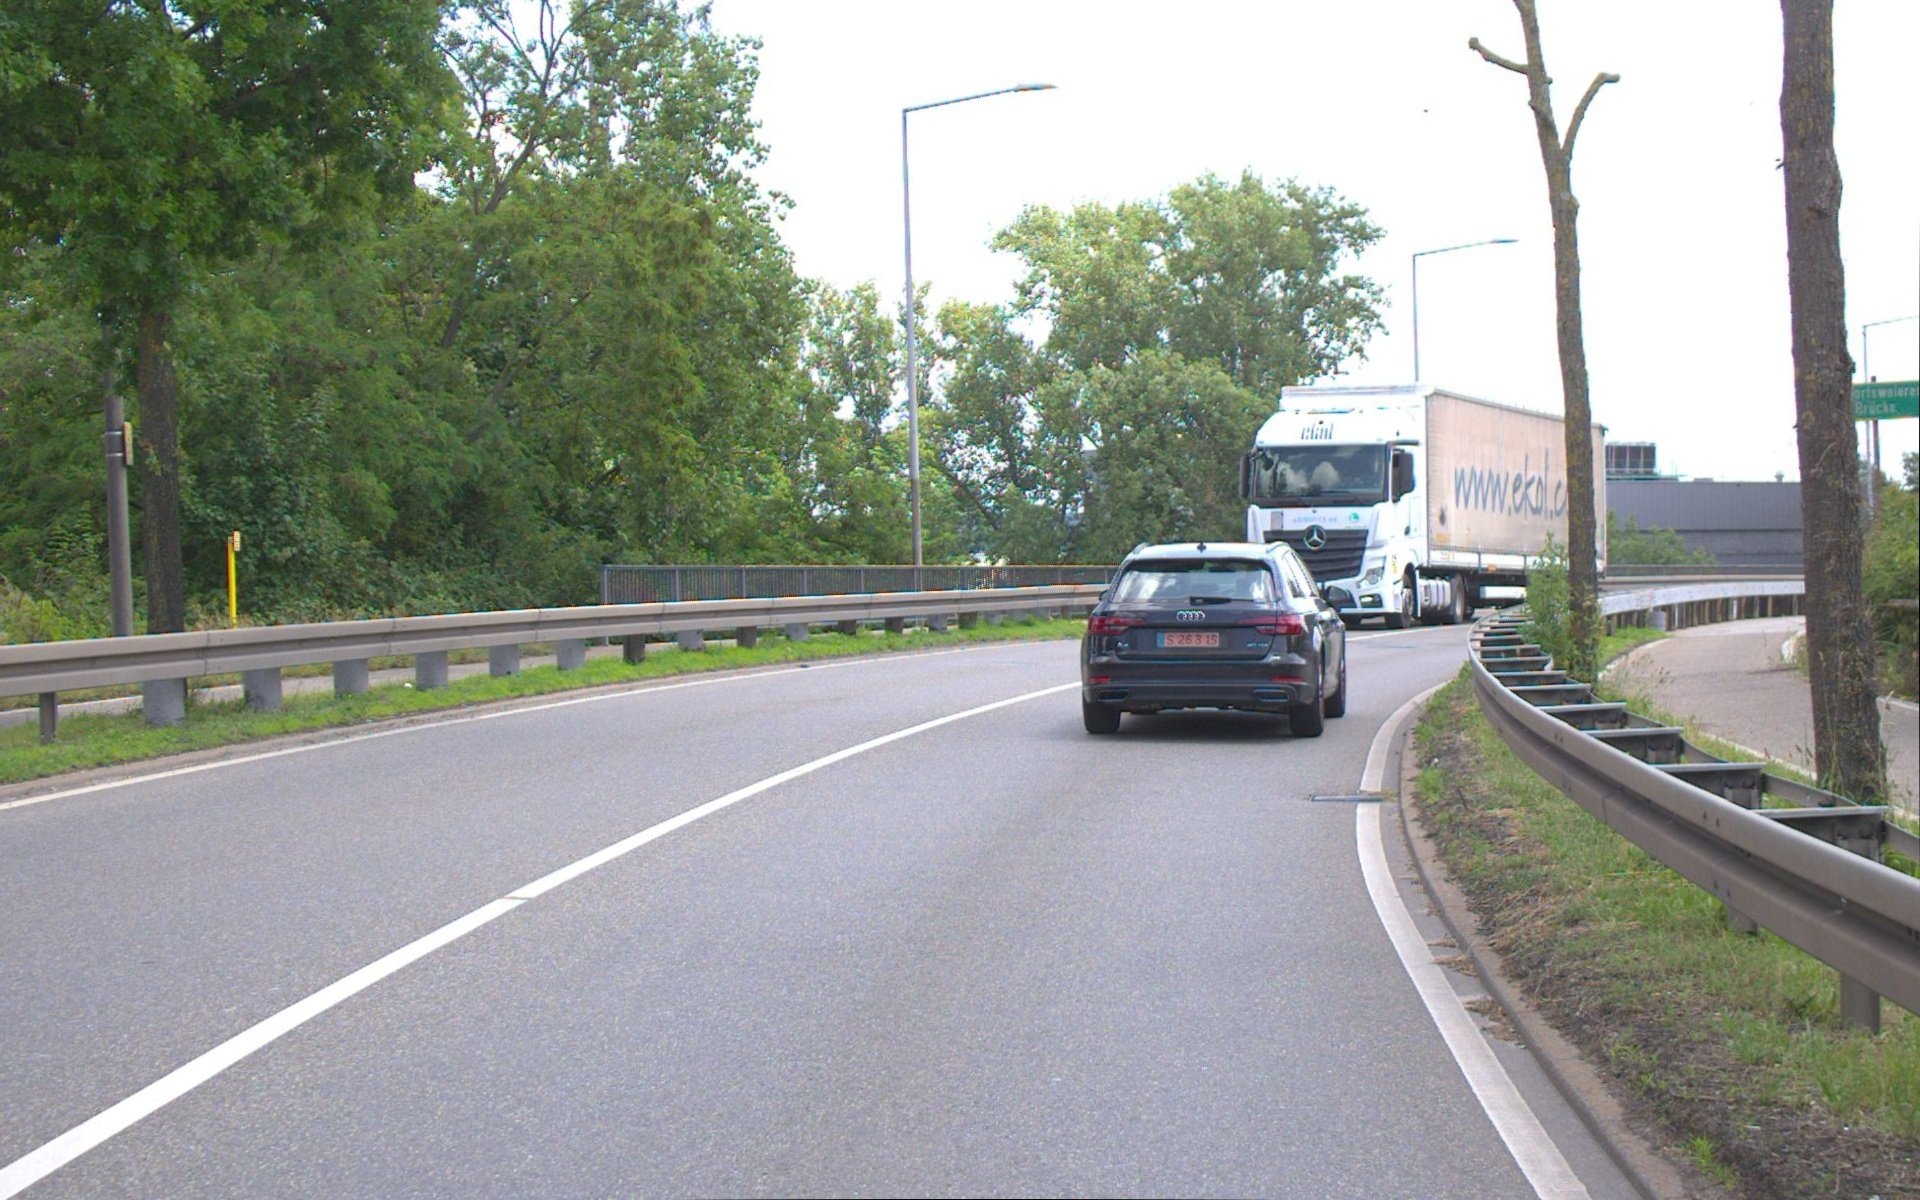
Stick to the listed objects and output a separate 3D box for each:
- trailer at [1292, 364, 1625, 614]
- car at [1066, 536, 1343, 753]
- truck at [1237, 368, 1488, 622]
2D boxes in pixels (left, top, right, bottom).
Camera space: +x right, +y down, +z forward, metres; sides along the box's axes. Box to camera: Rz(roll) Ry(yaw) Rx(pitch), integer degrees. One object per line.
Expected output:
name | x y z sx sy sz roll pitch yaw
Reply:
trailer | 9.818 -2.002 65.703 2.709 4.265 14.214 1 1 23
car | 1.983 0.276 26.761 1.828 1.486 4.206 1 2 8
truck | 6.967 -1.770 58.926 2.764 4.120 5.646 1 1 23
